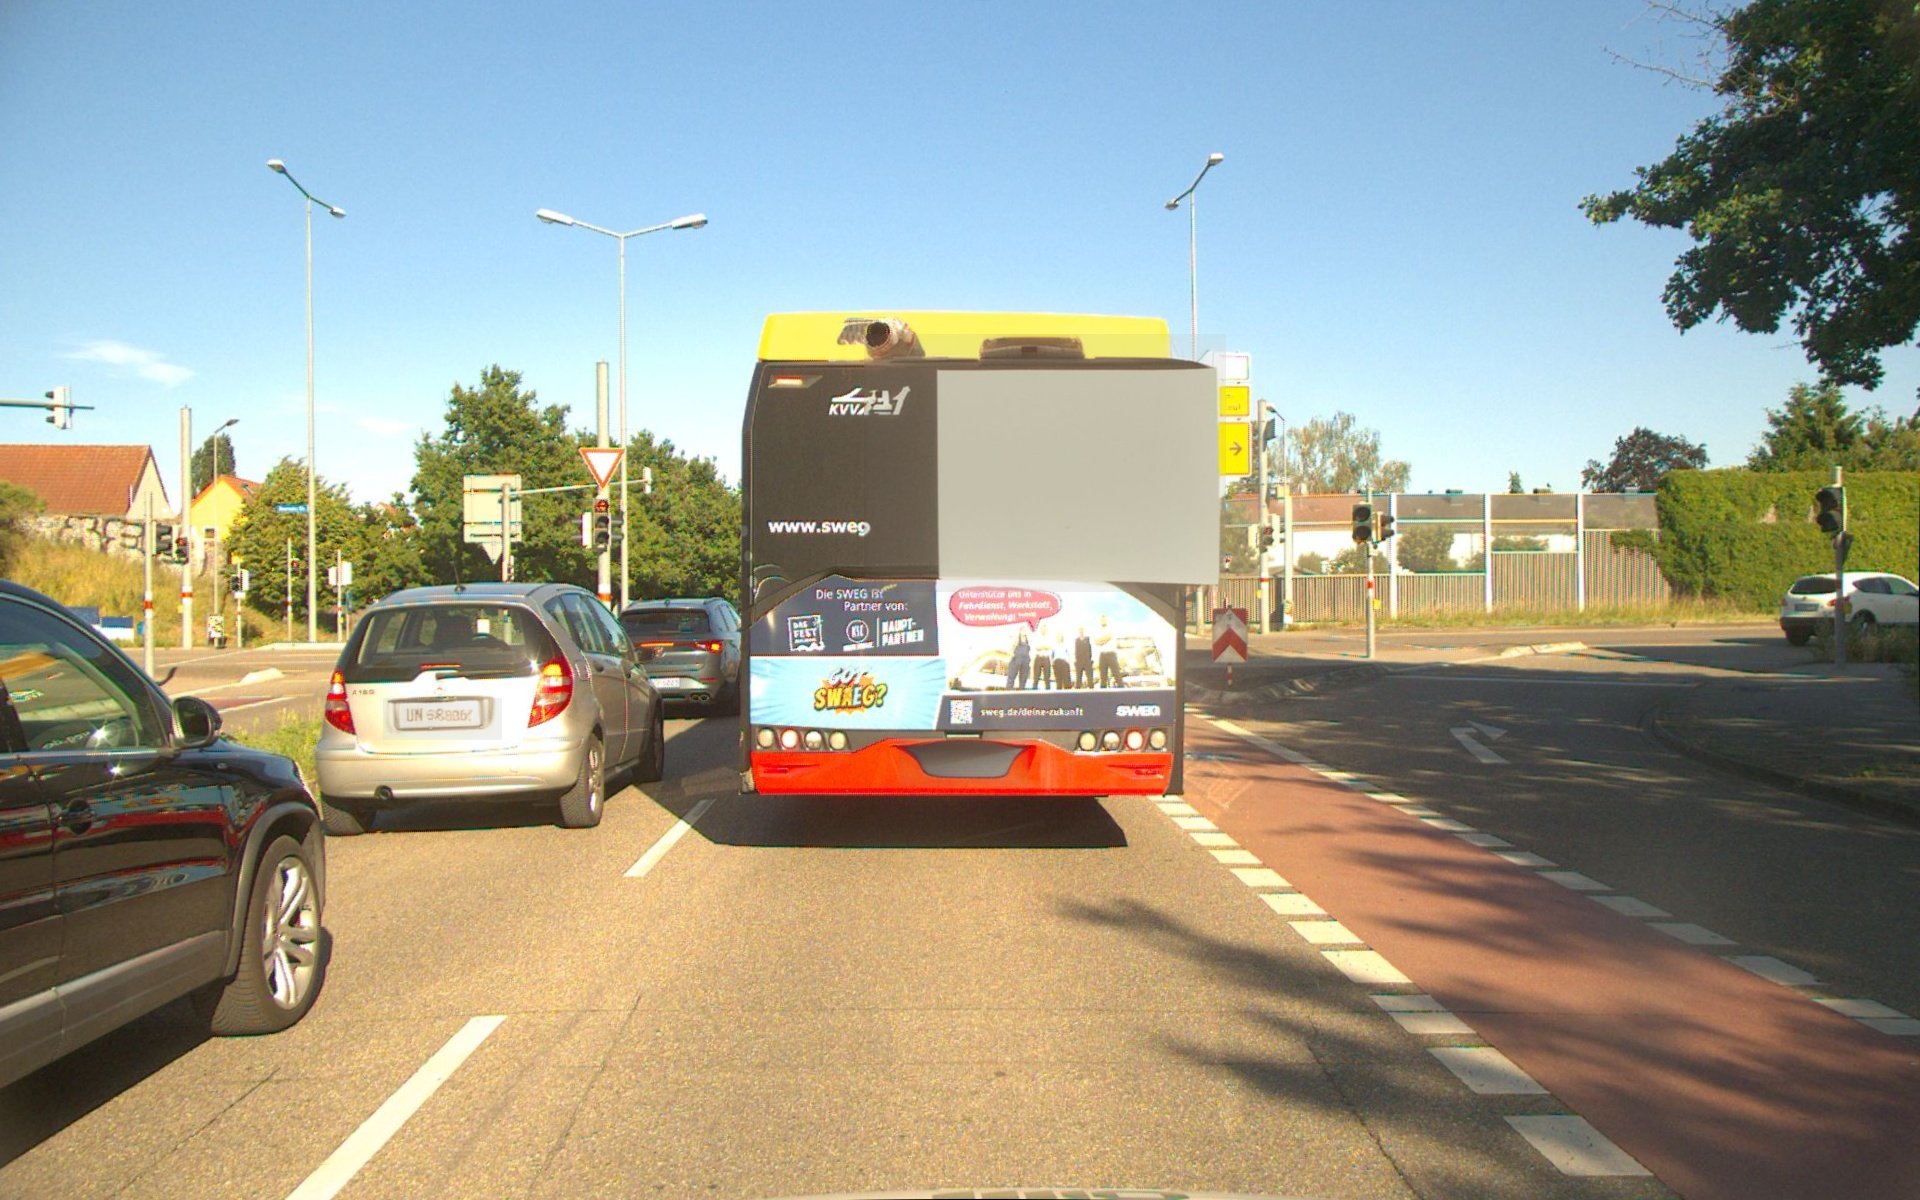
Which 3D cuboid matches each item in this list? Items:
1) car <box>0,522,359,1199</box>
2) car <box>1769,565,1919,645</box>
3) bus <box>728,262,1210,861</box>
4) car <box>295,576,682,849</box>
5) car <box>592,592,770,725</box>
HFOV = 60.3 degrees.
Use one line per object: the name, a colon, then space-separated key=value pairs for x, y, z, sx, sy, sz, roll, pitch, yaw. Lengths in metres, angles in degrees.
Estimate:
car: x=-3.148 y=0.684 z=4.305 sx=1.736 sy=1.682 sz=3.999 roll=-2 pitch=0 yaw=-1
car: x=20.245 y=0.067 z=37.015 sx=4.002 sy=1.635 sz=1.710 roll=-2 pitch=1 yaw=-25
bus: x=0.017 y=-0.256 z=14.894 sx=2.589 sy=3.222 sz=11.860 roll=0 pitch=0 yaw=0
car: x=-3.221 y=0.679 z=12.131 sx=1.725 sy=1.617 sz=3.999 roll=-2 pitch=0 yaw=-1
car: x=-3.453 y=0.674 z=21.060 sx=1.658 sy=1.484 sz=3.750 roll=-2 pitch=0 yaw=-1
